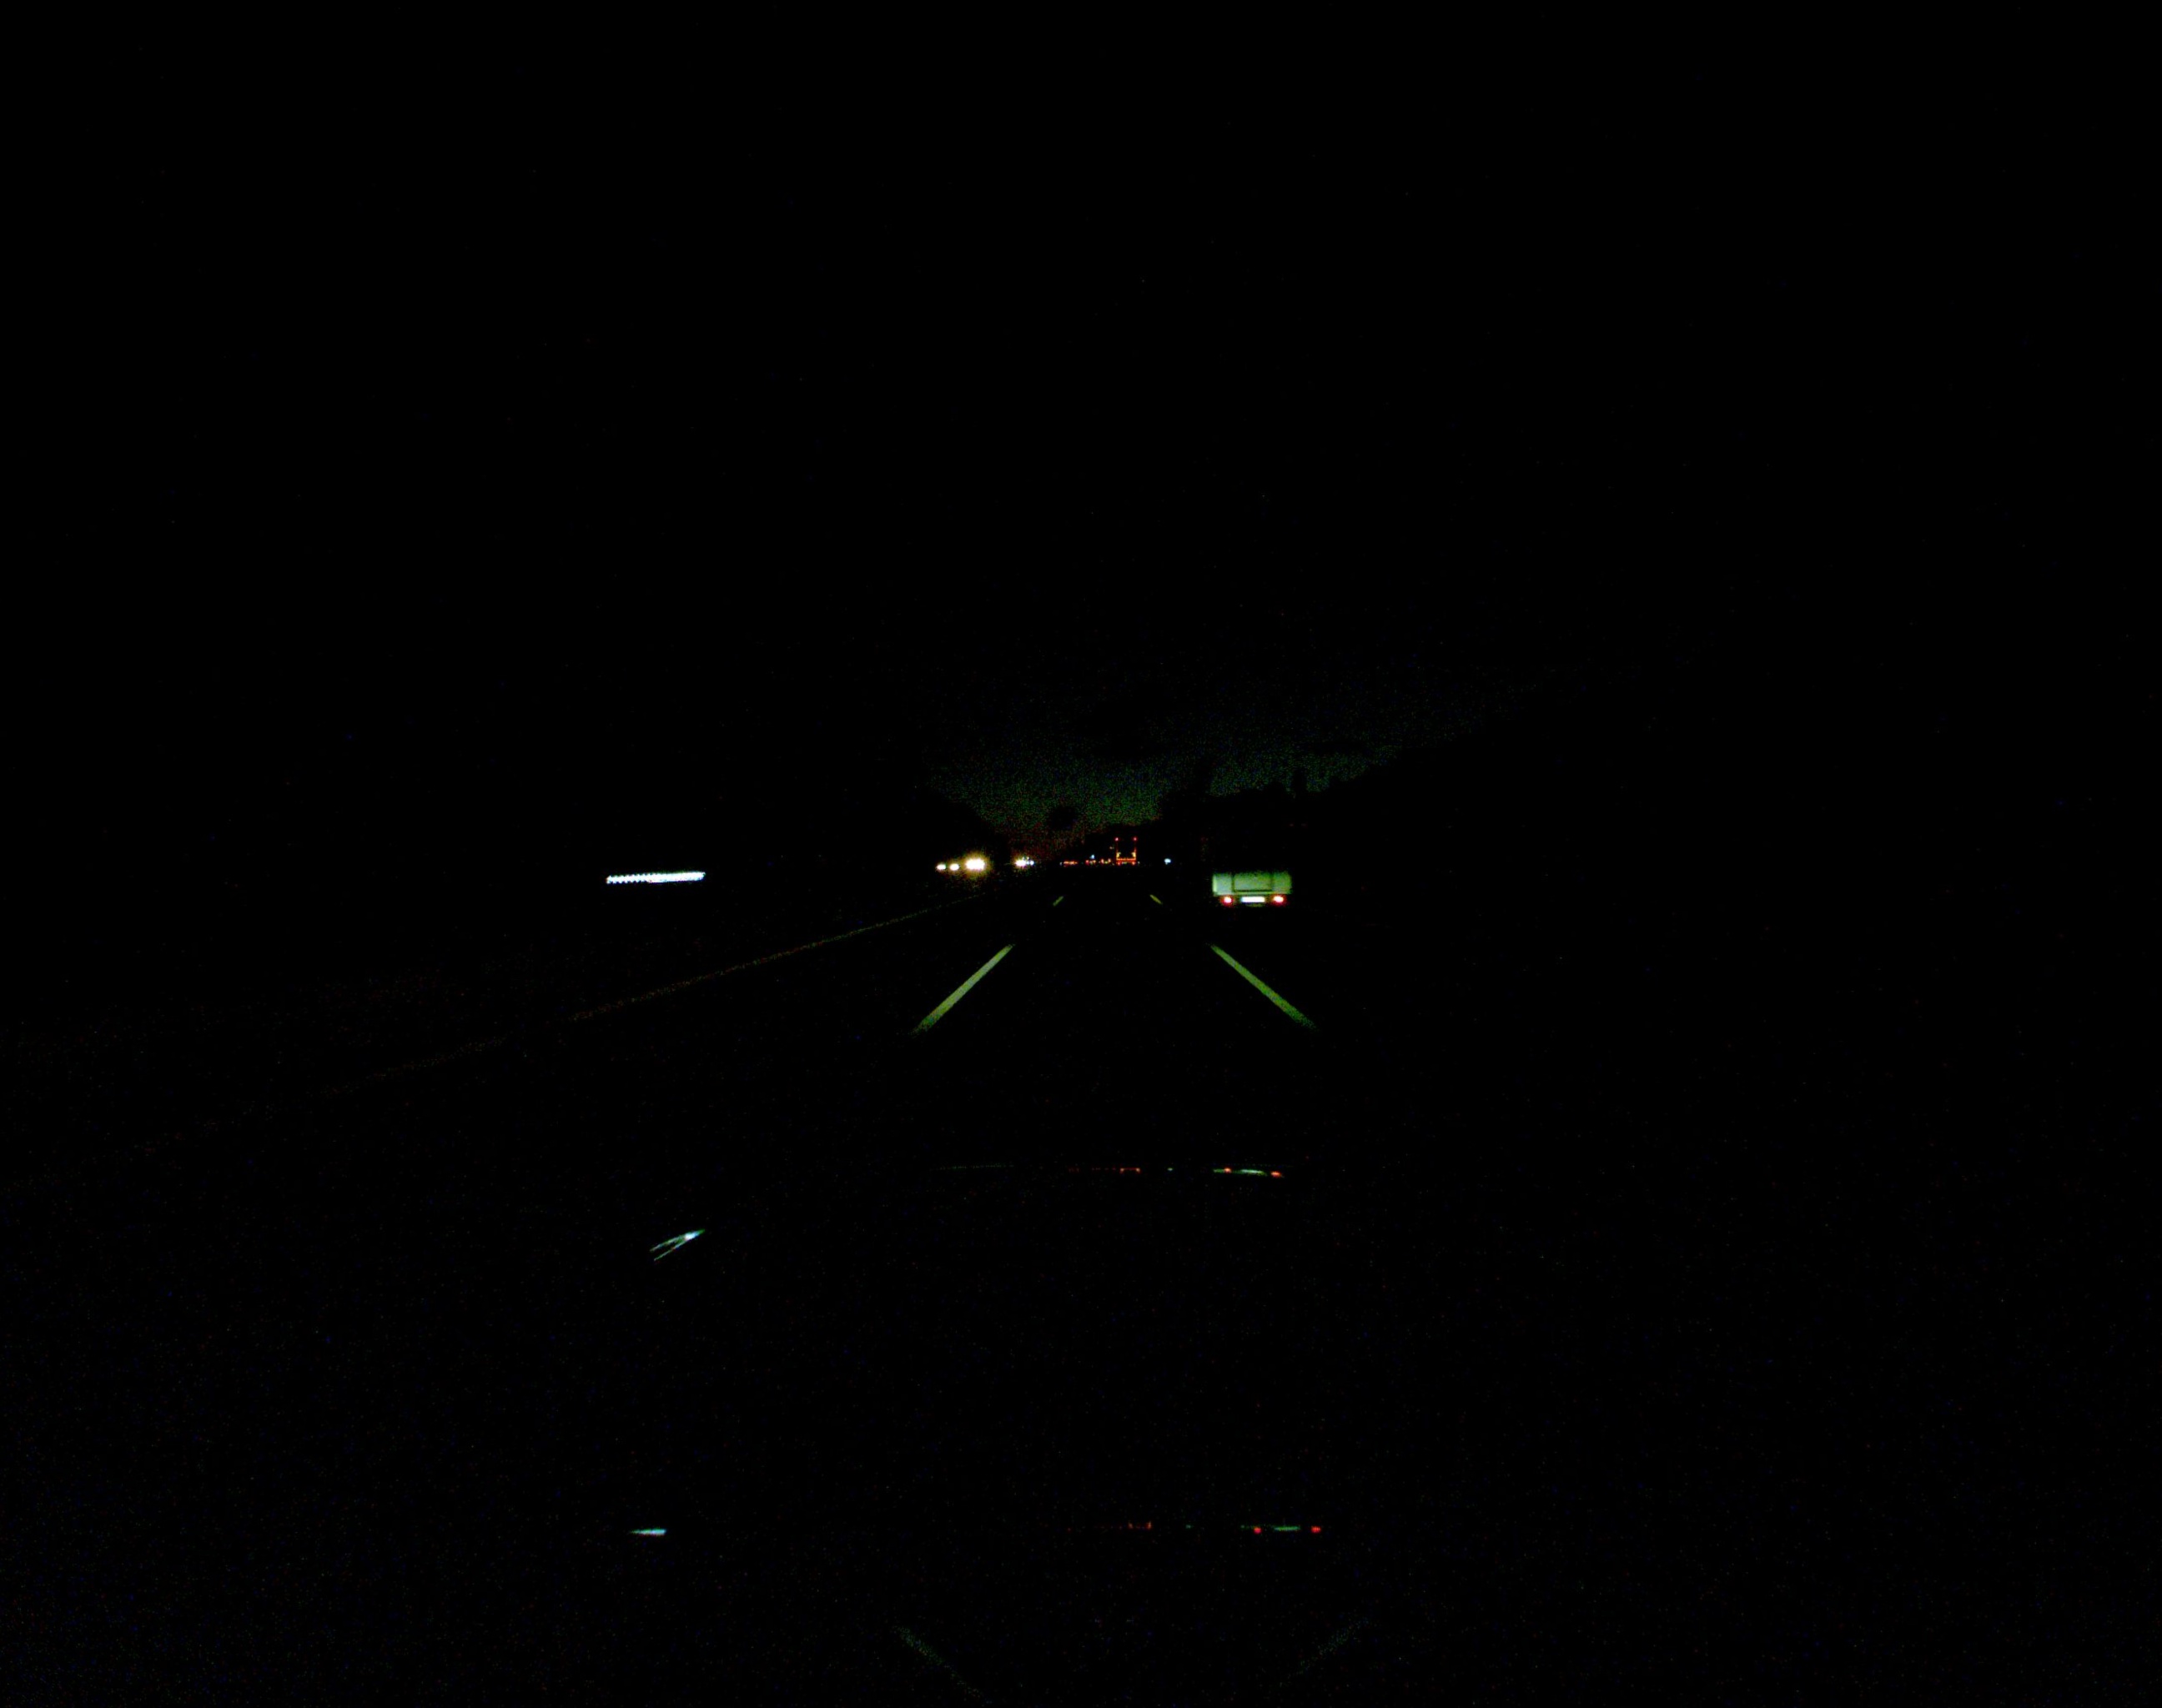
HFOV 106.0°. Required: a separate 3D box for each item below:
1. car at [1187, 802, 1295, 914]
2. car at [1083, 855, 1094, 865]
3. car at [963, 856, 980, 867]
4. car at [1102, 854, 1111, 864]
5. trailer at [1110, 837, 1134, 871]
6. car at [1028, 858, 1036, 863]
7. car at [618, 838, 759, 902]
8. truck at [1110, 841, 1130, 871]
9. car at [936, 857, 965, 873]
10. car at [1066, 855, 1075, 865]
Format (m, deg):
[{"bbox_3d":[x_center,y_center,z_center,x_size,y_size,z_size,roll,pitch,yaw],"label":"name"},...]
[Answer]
[{"bbox_3d":[4.211,0.109,22.442,2.024,2.647,5.727,-1,0,2],"label":"car"},{"bbox_3d":[1.494,1.239,157.835,1.987,1.794,3.999,-1,-2,0],"label":"car"},{"bbox_3d":[-18.186,1.218,135.442,2.237,1.668,4.886,-1,0,0],"label":"car"},{"bbox_3d":[5.593,1.192,179.187,1.986,2.117,4.000,-1,-2,1],"label":"car"},{"bbox_3d":[5.679,0.118,116.102,2.819,4.257,17.048,-1,-2,1],"label":"trailer"},{"bbox_3d":[-15.404,1.988,256.493,2.238,1.598,4.884,-1,0,-1],"label":"car"},{"bbox_3d":[-14.289,0.550,30.142,2.235,2.101,5.717,-1,0,2],"label":"car"},{"bbox_3d":[5.770,0.285,121.498,2.819,4.257,6.262,-1,-2,1],"label":"truck"},{"bbox_3d":[-13.620,1.132,85.168,2.237,1.668,4.889,-1,0,0],"label":"car"},{"bbox_3d":[-2.246,1.276,171.954,1.988,1.794,3.997,-1,-2,-2],"label":"car"}]
